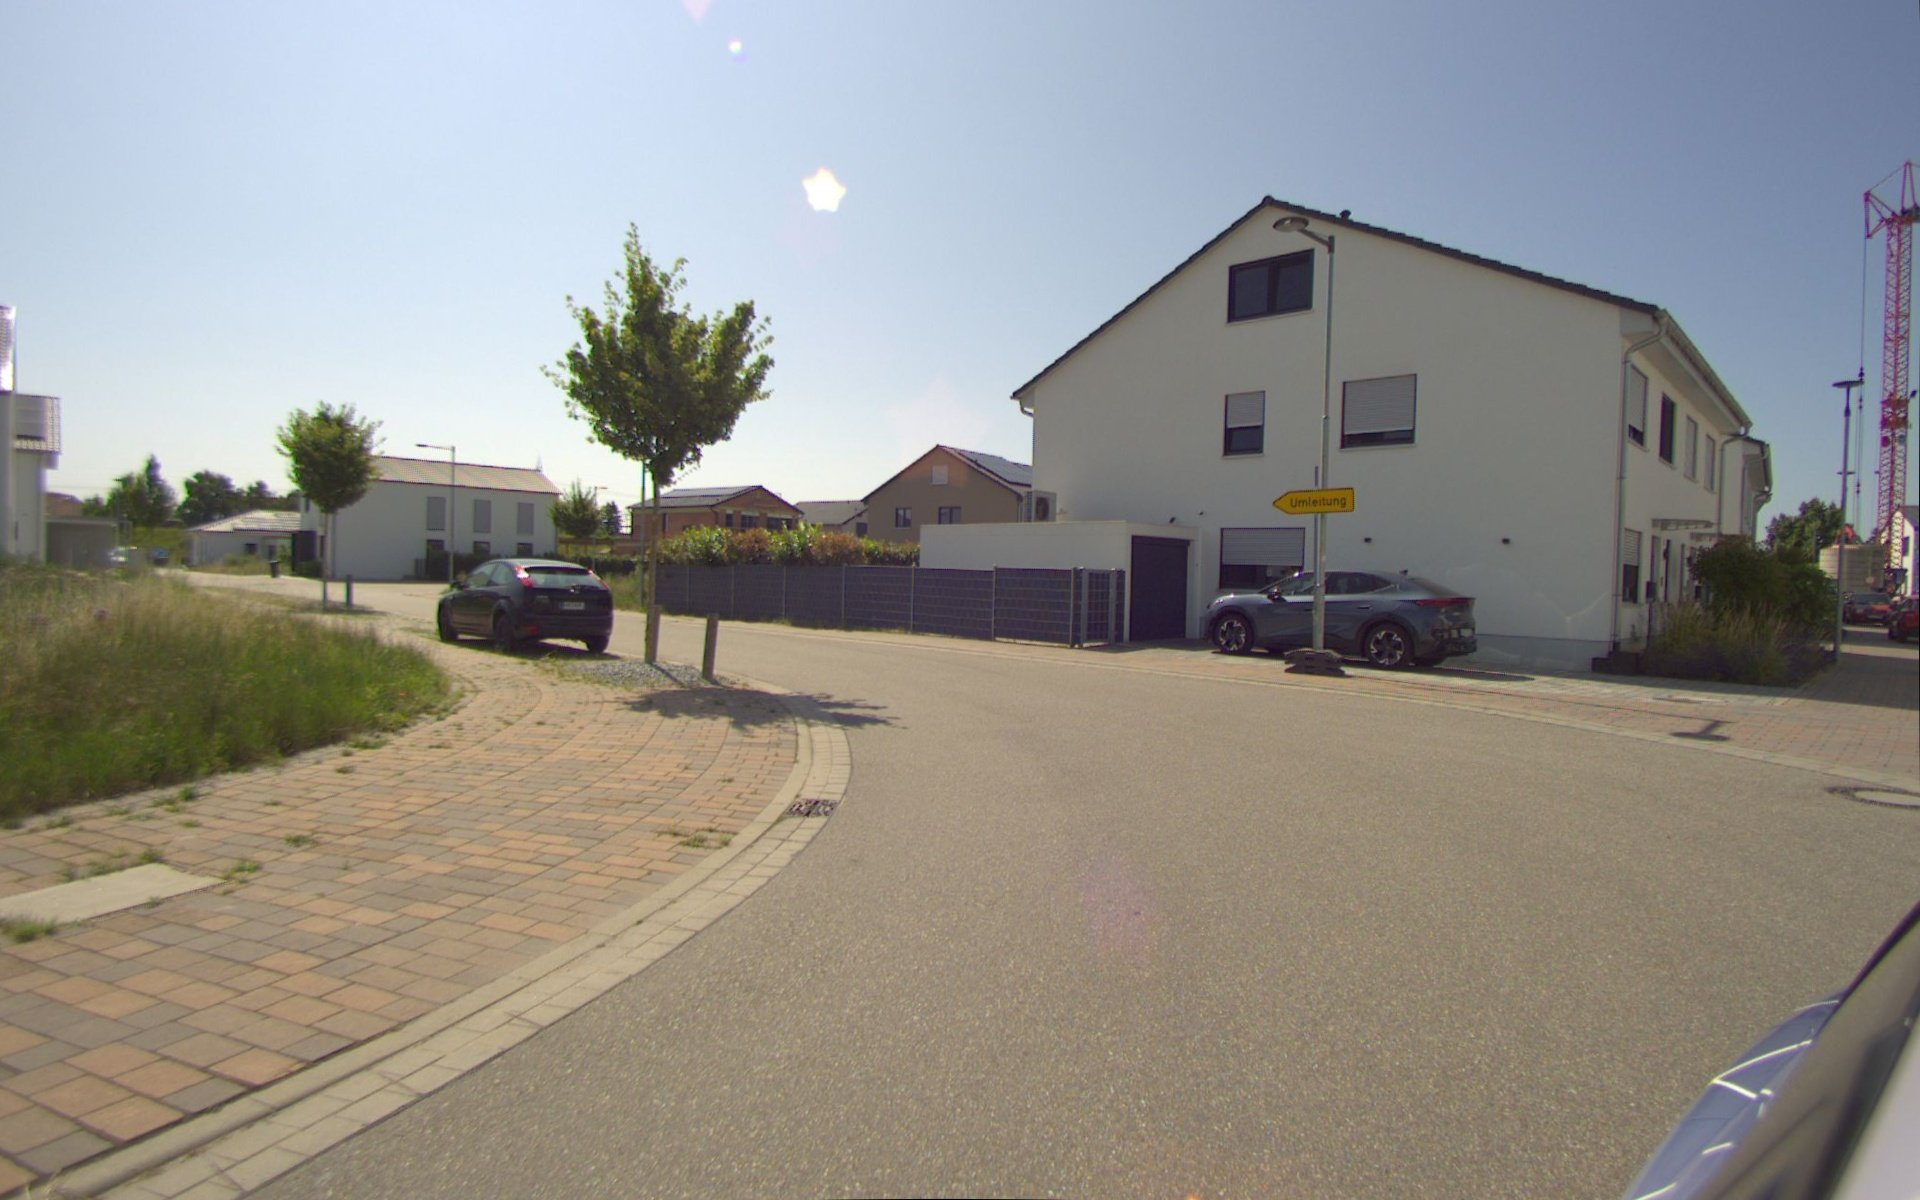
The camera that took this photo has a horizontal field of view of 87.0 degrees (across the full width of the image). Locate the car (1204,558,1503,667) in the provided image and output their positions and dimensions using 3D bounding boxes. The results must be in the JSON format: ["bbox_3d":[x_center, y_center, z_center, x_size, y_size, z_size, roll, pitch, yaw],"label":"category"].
[{"bbox_3d":[6.594,0.133,17.281,1.928,1.577,4.340,1,2,-44],"label":"car"}]

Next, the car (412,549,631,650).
[{"bbox_3d":[-7.545,-0.089,17.257,4.176,1.512,1.823,2,3,41],"label":"car"}]

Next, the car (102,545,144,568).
[{"bbox_3d":[-56.393,-2.943,68.138,1.894,1.437,4.412,0,2,-43],"label":"car"}]

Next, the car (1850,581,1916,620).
[{"bbox_3d":[42.378,-0.009,46.542,1.793,1.638,3.628,2,3,36],"label":"car"}]

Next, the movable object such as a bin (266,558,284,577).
[{"bbox_3d":[-40.716,-1.921,60.153,0.794,1.112,0.671,0,2,-42],"label":"movable object such as a bin"}]

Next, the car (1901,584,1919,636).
[{"bbox_3d":[30.501,0.299,31.349,1.906,1.497,3.939,3,3,42],"label":"car"}]
